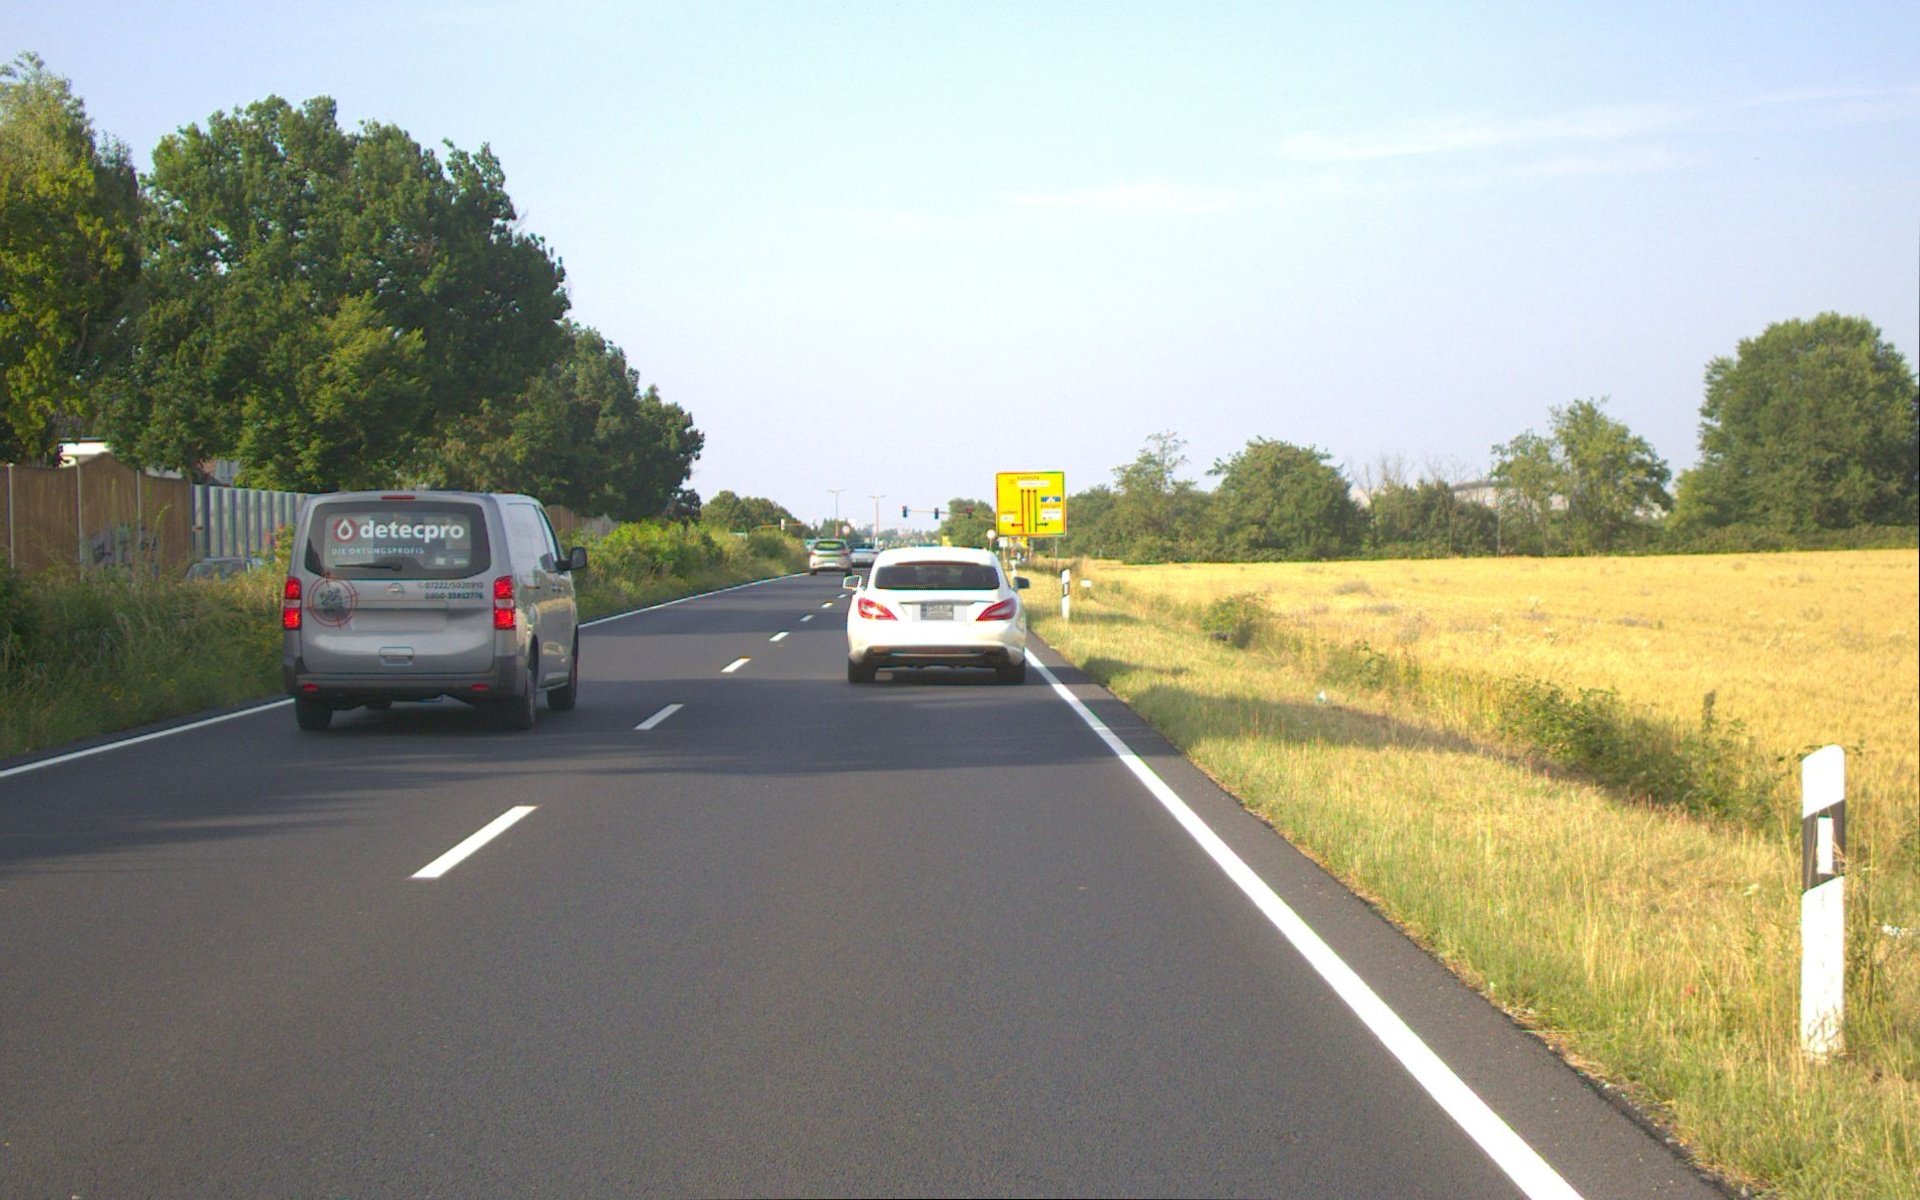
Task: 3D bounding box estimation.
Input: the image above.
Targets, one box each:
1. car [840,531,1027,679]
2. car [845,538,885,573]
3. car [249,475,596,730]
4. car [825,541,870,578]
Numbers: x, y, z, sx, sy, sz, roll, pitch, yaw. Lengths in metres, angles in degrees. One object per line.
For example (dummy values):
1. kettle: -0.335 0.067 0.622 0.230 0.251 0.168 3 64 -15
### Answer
1. car: -0.291 0.026 36.985 1.894 1.503 4.000 0 1 -1
2. car: -4.638 -2.179 167.649 1.877 1.645 3.664 1 1 -2
3. car: -4.293 -0.033 28.271 2.025 1.885 4.958 1 1 0
4. car: -4.613 -1.668 141.154 1.717 1.487 3.584 1 1 0
